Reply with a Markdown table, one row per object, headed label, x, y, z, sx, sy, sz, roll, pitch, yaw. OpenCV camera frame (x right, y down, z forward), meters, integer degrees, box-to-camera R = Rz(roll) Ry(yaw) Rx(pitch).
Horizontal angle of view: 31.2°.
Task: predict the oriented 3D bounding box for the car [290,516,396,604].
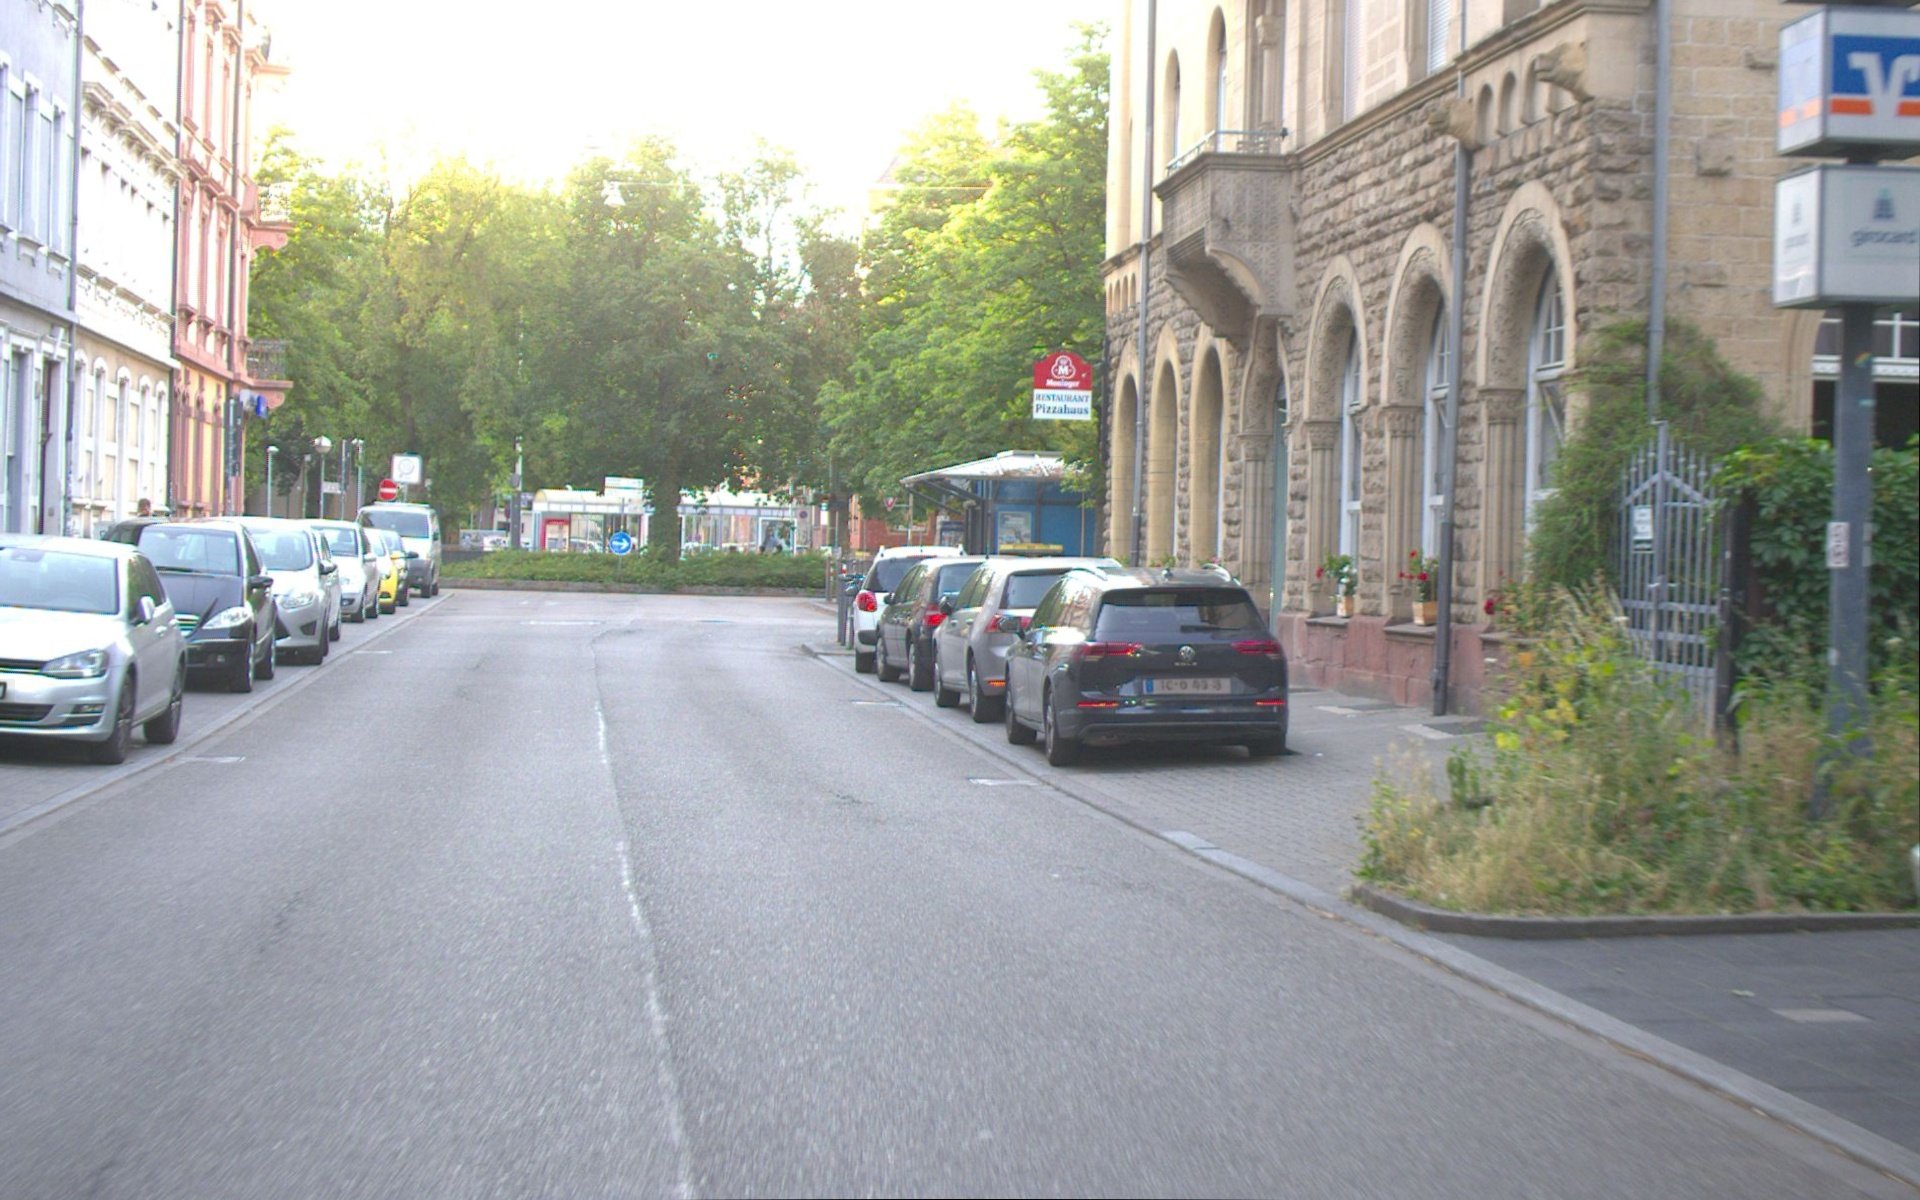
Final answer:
| label | x | y | z | sx | sy | sz | roll | pitch | yaw |
| --- | --- | --- | --- | --- | --- | --- | --- | --- | --- |
| car | -11.002 | -0.736 | 61.475 | 1.698 | 1.421 | 4.023 | 3 | 1 | -9 |

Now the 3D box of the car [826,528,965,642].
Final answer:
| label | x | y | z | sx | sy | sz | roll | pitch | yaw |
| --- | --- | --- | --- | --- | --- | --- | --- | --- | --- |
| car | -0.956 | -0.243 | 48.763 | 1.676 | 1.496 | 4.019 | -2 | 1 | -5 |

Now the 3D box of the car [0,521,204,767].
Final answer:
| label | x | y | z | sx | sy | sz | roll | pitch | yaw |
| --- | --- | --- | --- | --- | --- | --- | --- | --- | --- |
| car | -6.426 | 0.219 | 23.669 | 1.834 | 1.453 | 4.207 | 4 | 1 | -6 |

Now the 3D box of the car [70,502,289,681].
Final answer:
| label | x | y | z | sx | sy | sz | roll | pitch | yaw |
| --- | --- | --- | --- | --- | --- | --- | --- | --- | --- |
| car | -7.467 | -0.112 | 33.165 | 1.635 | 1.560 | 3.782 | 2 | 1 | -7 |

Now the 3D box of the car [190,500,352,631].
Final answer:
| label | x | y | z | sx | sy | sz | roll | pitch | yaw |
| --- | --- | --- | --- | --- | --- | --- | --- | --- | --- |
| car | -8.923 | -0.463 | 44.750 | 1.698 | 1.547 | 3.570 | 3 | 1 | -7 |

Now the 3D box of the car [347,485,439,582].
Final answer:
| label | x | y | z | sx | sy | sz | roll | pitch | yaw |
| --- | --- | --- | --- | --- | --- | --- | --- | --- | --- |
| car | -12.477 | -1.469 | 75.480 | 1.810 | 1.970 | 4.188 | 3 | 1 | -11 |

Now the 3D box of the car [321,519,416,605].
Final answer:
| label | x | y | z | sx | sy | sz | roll | pitch | yaw |
| --- | --- | --- | --- | --- | --- | --- | --- | --- | --- |
| car | -11.566 | -0.771 | 67.388 | 1.698 | 1.547 | 4.023 | 3 | 1 | -9 |

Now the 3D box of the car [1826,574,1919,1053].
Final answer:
| label | x | y | z | sx | sy | sz | roll | pitch | yaw |
| --- | --- | --- | --- | --- | --- | --- | --- | --- | --- |
| car | 4.975 | 0.628 | 10.576 | 4.086 | 1.447 | 1.883 | -1 | 2 | -4 |

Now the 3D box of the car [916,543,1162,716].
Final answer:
| label | x | y | z | sx | sy | sz | roll | pitch | yaw |
| --- | --- | --- | --- | --- | --- | --- | --- | --- | --- |
| car | 0.672 | 0.224 | 32.364 | 1.676 | 1.451 | 4.231 | -2 | 1 | -7 |

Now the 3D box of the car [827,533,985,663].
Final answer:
| label | x | y | z | sx | sy | sz | roll | pitch | yaw |
| --- | --- | --- | --- | --- | --- | --- | --- | --- | --- |
| car | -0.722 | -0.062 | 42.892 | 1.676 | 1.496 | 3.902 | -2 | 1 | -5 |

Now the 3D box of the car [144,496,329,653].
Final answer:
| label | x | y | z | sx | sy | sz | roll | pitch | yaw |
| --- | --- | --- | --- | --- | --- | --- | --- | --- | --- |
| car | -8.201 | -0.316 | 39.268 | 1.844 | 1.653 | 4.254 | 1 | 1 | -9 |

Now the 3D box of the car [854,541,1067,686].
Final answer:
| label | x | y | z | sx | sy | sz | roll | pitch | yaw |
| --- | --- | --- | --- | --- | --- | --- | --- | --- | --- |
| car | -0.050 | 0.105 | 37.908 | 1.676 | 1.451 | 3.801 | -2 | 1 | -10 |

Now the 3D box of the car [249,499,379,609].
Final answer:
| label | x | y | z | sx | sy | sz | roll | pitch | yaw |
| --- | --- | --- | --- | --- | --- | --- | --- | --- | --- |
| car | -10.349 | -0.746 | 55.251 | 1.698 | 1.615 | 4.023 | 3 | 1 | -7 |

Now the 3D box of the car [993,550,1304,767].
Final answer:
| label | x | y | z | sx | sy | sz | roll | pitch | yaw |
| --- | --- | --- | --- | --- | --- | --- | --- | --- | --- |
| car | 1.349 | 0.376 | 26.380 | 1.676 | 1.424 | 4.479 | -2 | 2 | -6 |
